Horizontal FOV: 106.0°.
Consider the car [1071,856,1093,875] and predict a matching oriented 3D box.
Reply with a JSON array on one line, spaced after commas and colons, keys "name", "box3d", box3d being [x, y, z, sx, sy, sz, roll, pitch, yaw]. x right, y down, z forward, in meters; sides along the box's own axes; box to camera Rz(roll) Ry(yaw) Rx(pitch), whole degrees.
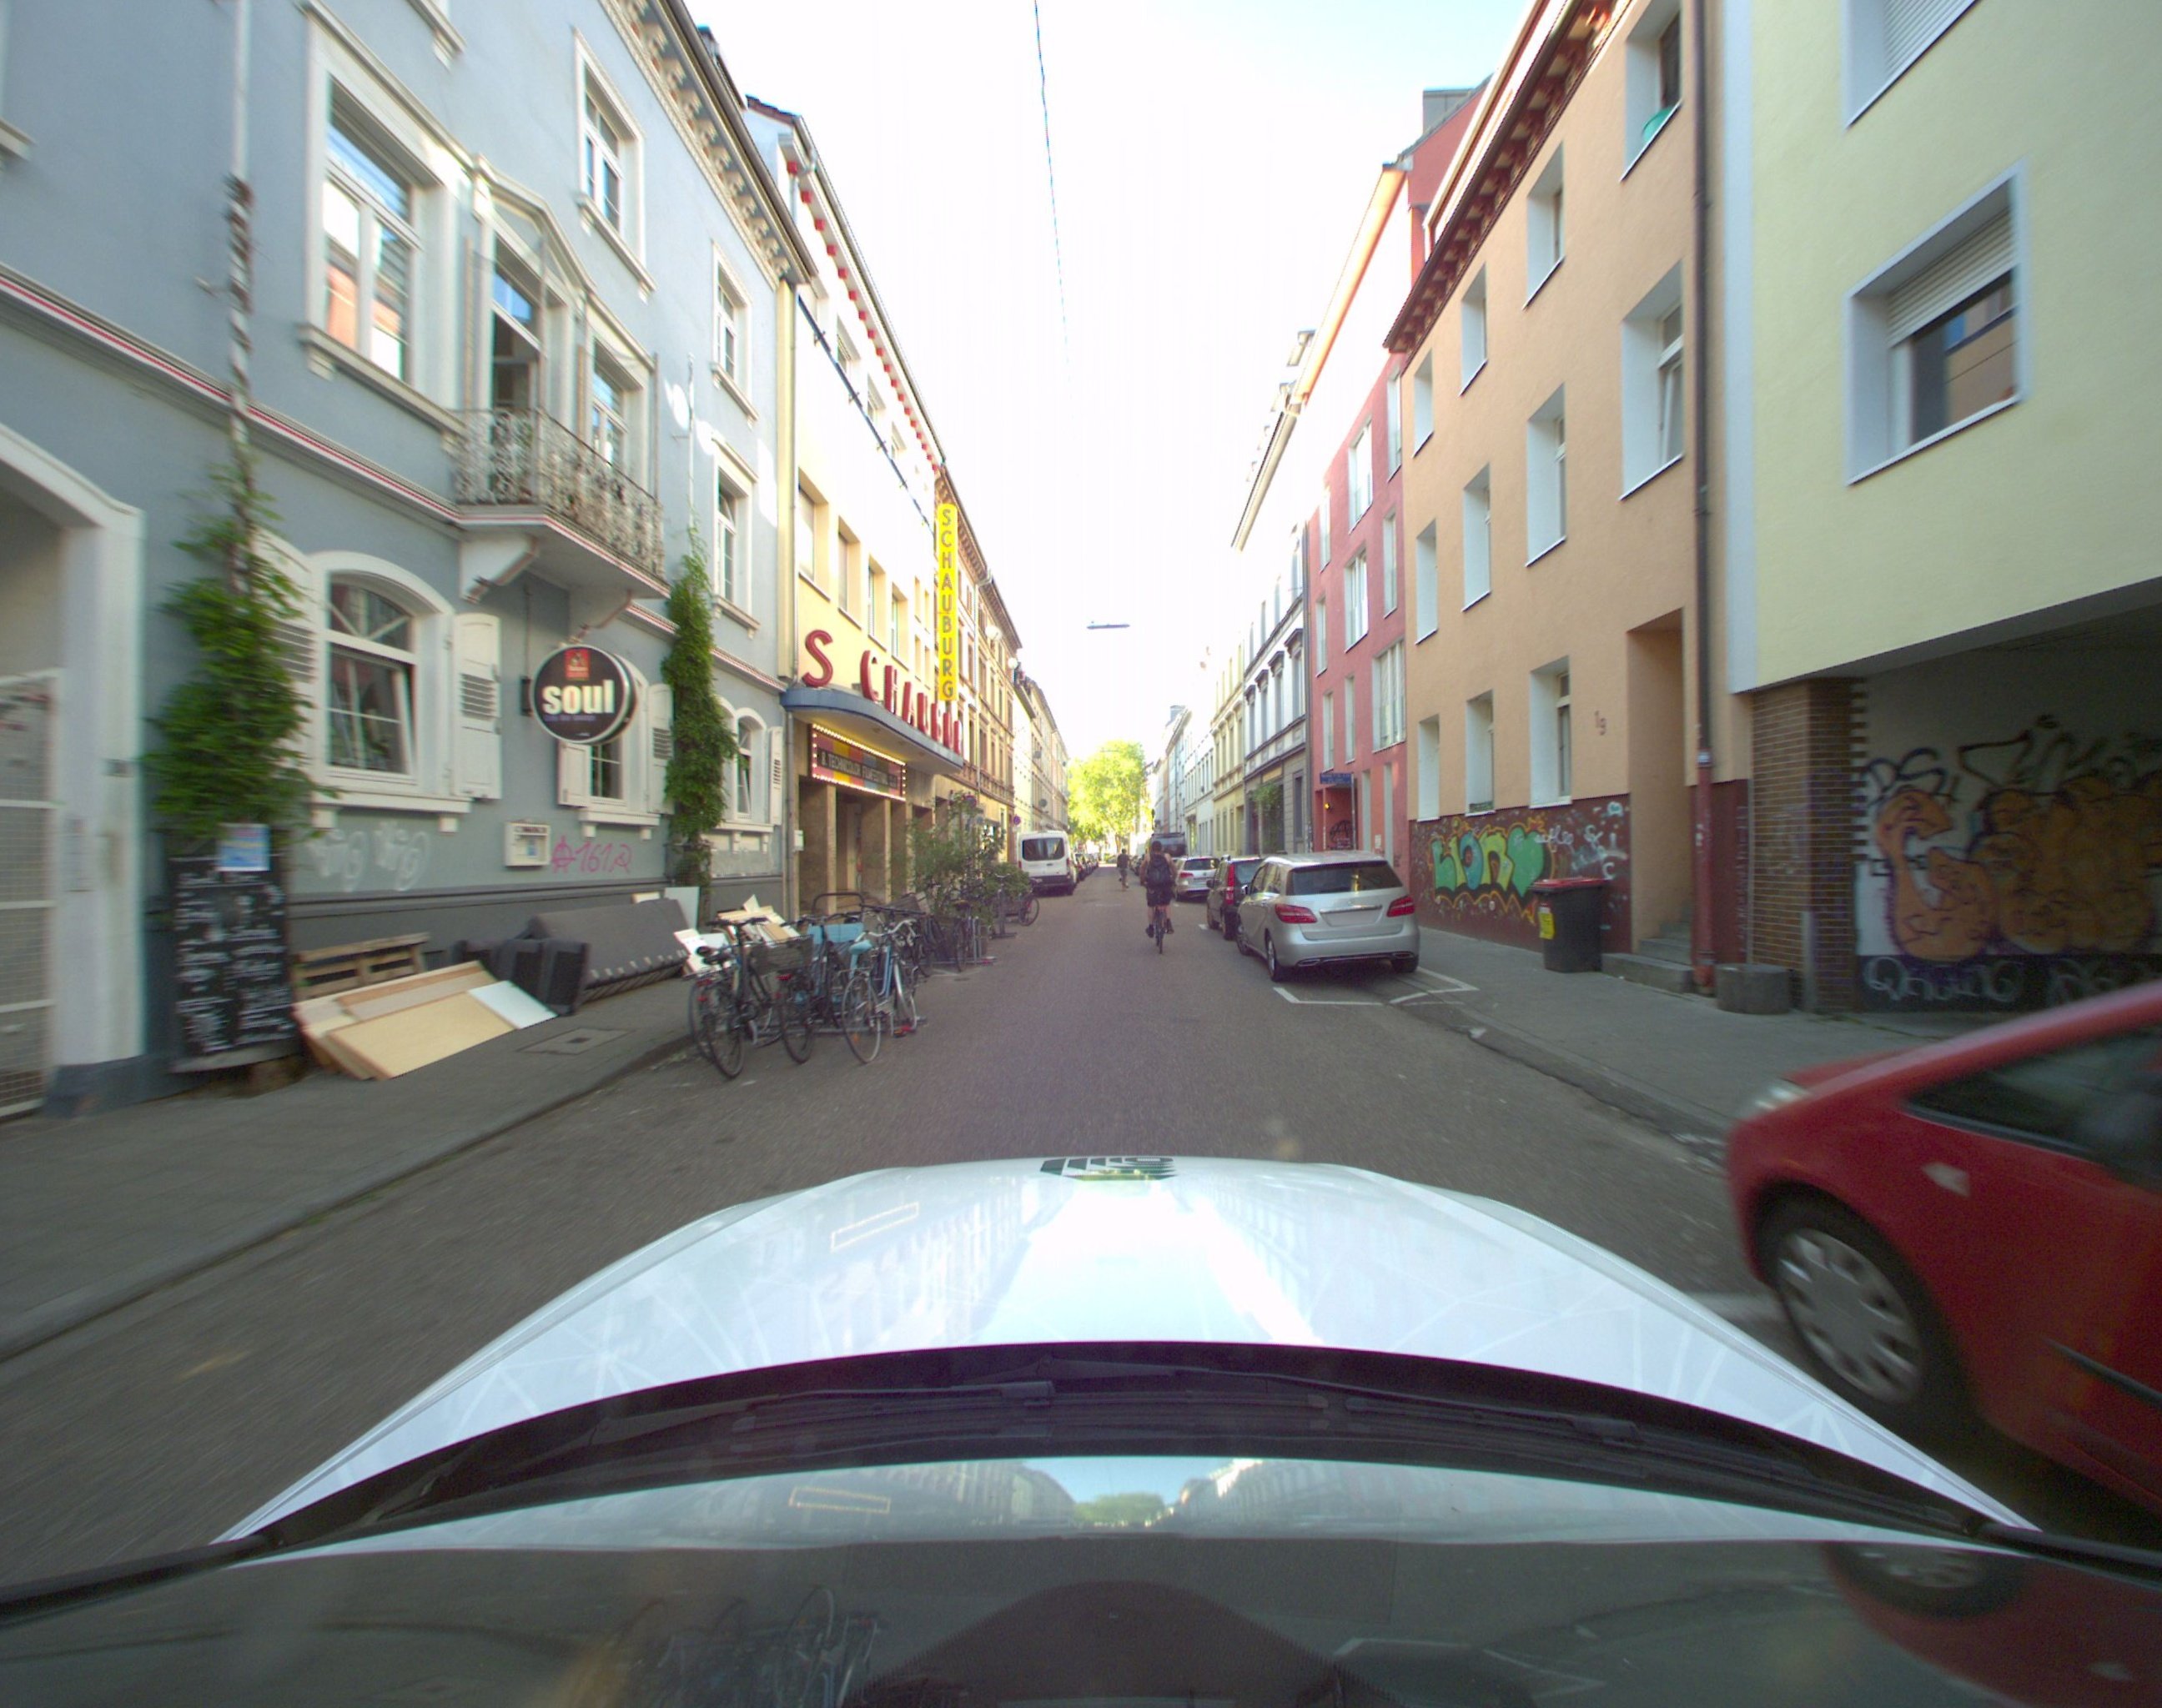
[{"name": "car", "box3d": [0.085, 0.900, 66.762, 1.585, 1.440, 3.656, -1, 0, 3]}]

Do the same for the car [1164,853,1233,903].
[{"name": "car", "box3d": [3.999, 0.768, 28.311, 1.780, 1.454, 4.548, -4, 0, 1]}]

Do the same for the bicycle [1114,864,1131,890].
[{"name": "bicycle", "box3d": [1.746, 0.944, 34.347, 0.661, 1.037, 1.960, -1, 0, 2]}]

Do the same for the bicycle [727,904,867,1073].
[{"name": "bicycle", "box3d": [-2.311, 1.032, 6.865, 0.441, 1.105, 1.932, 0, 0, 2]}]

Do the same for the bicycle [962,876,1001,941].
[{"name": "bicycle", "box3d": [-1.853, 0.992, 15.368, 0.544, 1.094, 1.880, 1, 0, -2]}]

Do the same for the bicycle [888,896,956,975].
[{"name": "bicycle", "box3d": [-2.197, 1.103, 11.393, 0.551, 0.944, 1.573, -1, 0, 3]}]

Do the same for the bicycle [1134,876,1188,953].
[{"name": "bicycle", "box3d": [1.274, 0.941, 13.343, 0.737, 1.100, 2.043, 1, 0, 2]}]

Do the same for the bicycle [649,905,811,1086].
[{"name": "bicycle", "box3d": [-2.677, 1.010, 6.434, 0.442, 1.105, 1.874, 0, 0, 1]}]

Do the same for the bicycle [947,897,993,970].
[{"name": "bicycle", "box3d": [-1.578, 1.115, 11.728, 0.388, 0.916, 1.394, -1, 0, 3]}]

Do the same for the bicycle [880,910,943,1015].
[{"name": "bicycle", "box3d": [-1.741, 1.091, 8.484, 0.320, 0.916, 1.291, -1, 0, 3]}]

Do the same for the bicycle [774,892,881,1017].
[{"name": "bicycle", "box3d": [-2.595, 1.002, 8.427, 0.810, 1.175, 0.920, 0, 0, 0]}]

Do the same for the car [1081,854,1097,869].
[{"name": "car", "box3d": [0.867, 0.829, 89.132, 1.540, 1.550, 3.463, -1, 0, -1]}]

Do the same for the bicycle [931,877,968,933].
[{"name": "bicycle", "box3d": [-2.681, 1.026, 16.735, 0.572, 1.045, 1.408, 0, 0, -2]}]

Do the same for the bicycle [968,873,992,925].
[{"name": "bicycle", "box3d": [-2.461, 1.081, 19.953, 0.398, 1.174, 1.668, 1, 0, -2]}]

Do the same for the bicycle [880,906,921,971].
[{"name": "bicycle", "box3d": [-2.631, 1.210, 11.957, 0.255, 0.817, 1.300, 0, 0, 3]}]

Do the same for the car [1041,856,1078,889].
[{"name": "car", "box3d": [-0.991, 0.858, 39.480, 1.640, 1.447, 3.840, -1, 0, 0]}]

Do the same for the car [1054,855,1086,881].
[{"name": "car", "box3d": [-0.637, 0.836, 50.769, 1.856, 1.440, 4.645, -1, 0, 0]}]

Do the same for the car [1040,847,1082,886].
[{"name": "car", "box3d": [-1.024, 0.621, 44.081, 1.820, 1.892, 4.616, -4, 0, 2]}]

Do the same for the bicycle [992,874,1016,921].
[{"name": "bicycle", "box3d": [-1.875, 1.051, 19.968, 0.441, 1.047, 1.864, 1, 0, -2]}]

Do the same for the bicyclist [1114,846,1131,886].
[{"name": "bicyclist", "box3d": [1.738, 0.508, 34.410, 0.667, 1.658, 0.877, -1, 0, 2]}]

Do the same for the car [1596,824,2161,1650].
[{"name": "car", "box3d": [2.821, 0.694, 1.233, 1.690, 1.523, 3.983, -2, 0, 3]}]

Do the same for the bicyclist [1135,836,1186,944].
[{"name": "bicyclist", "box3d": [1.278, 0.560, 13.297, 0.737, 1.679, 1.117, 1, 0, 2]}]

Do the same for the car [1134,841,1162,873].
[{"name": "car", "box3d": [5.745, 0.227, 70.032, 2.194, 2.551, 6.043, -1, 0, 4]}]

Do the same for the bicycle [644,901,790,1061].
[{"name": "bicycle", "box3d": [-3.051, 1.010, 7.001, 0.441, 1.105, 1.698, 0, 0, 2]}]

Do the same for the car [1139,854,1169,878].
[{"name": "car", "box3d": [4.842, 0.765, 54.762, 1.739, 1.485, 4.245, -1, 0, 2]}]

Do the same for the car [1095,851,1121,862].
[{"name": "car", "box3d": [4.631, 0.449, 140.132, 4.458, 1.759, 1.864, -1, 0, -3]}]

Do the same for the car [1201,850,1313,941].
[{"name": "car", "box3d": [3.392, 0.743, 16.256, 1.595, 1.539, 3.453, -3, 0, 3]}]

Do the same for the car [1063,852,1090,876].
[{"name": "car", "box3d": [-0.298, 0.737, 61.791, 1.794, 1.698, 4.002, -3, 0, 2]}]

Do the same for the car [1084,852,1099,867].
[{"name": "car", "box3d": [1.337, 0.698, 101.333, 1.781, 1.737, 3.877, -1, 0, 2]}]

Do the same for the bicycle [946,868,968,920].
[{"name": "bicycle", "box3d": [-2.960, 0.933, 19.547, 0.338, 1.174, 1.489, 1, 0, -2]}]

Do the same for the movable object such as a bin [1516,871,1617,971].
[{"name": "movable object such as a bin", "box3d": [5.602, 0.754, 9.440, 0.689, 1.058, 0.737, -3, 0, 2]}]

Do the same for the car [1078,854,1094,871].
[{"name": "car", "box3d": [0.514, 0.845, 81.760, 1.599, 1.530, 3.379, -2, 0, 0]}]

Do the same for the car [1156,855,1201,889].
[{"name": "car", "box3d": [4.396, 0.799, 37.206, 1.740, 1.444, 4.174, -1, 0, 2]}]

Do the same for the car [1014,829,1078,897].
[{"name": "car", "box3d": [-1.318, 0.337, 33.431, 2.160, 2.452, 5.922, -2, 0, 1]}]

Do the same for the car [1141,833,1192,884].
[{"name": "car", "box3d": [4.458, 0.229, 43.443, 2.167, 2.425, 6.311, -2, 0, 2]}]

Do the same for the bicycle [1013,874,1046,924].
[{"name": "bicycle", "box3d": [-1.202, 1.013, 18.885, 0.461, 1.047, 1.742, 1, 0, -14]}]

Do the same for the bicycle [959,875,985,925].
[{"name": "bicycle", "box3d": [-2.442, 1.018, 18.315, 0.416, 1.047, 1.317, 1, 0, -1]}]

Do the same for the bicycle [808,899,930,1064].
[{"name": "bicycle", "box3d": [-1.725, 0.987, 6.885, 0.497, 1.105, 1.830, 0, 0, 2]}]

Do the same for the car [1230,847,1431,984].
[{"name": "car", "box3d": [3.241, 0.705, 11.441, 1.739, 1.556, 4.175, -1, 0, 3]}]
